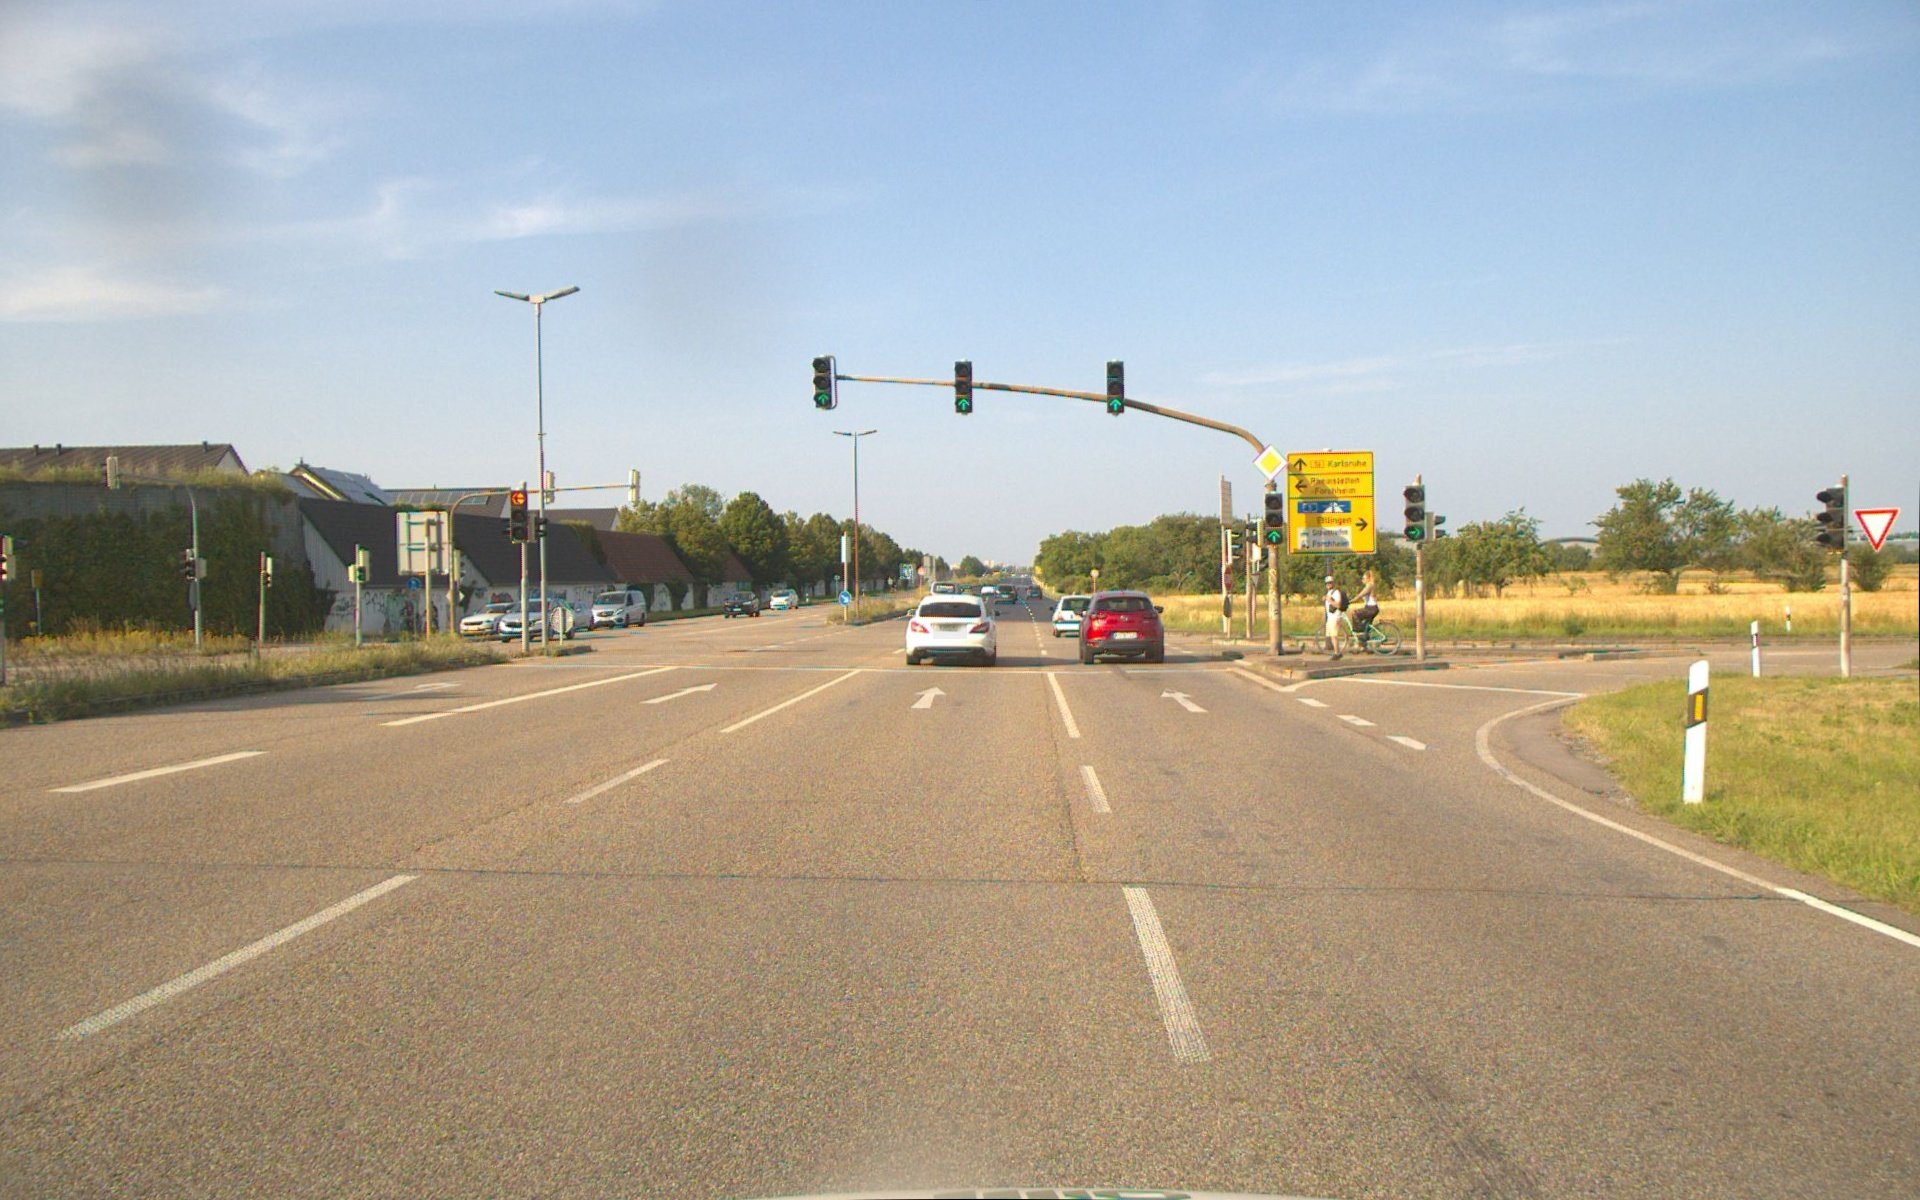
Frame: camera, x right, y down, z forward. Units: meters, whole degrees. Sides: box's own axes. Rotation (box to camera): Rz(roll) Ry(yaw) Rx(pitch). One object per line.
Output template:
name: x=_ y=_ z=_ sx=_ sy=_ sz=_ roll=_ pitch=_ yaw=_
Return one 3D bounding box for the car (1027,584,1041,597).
car: x=7.684 y=-0.965 z=171.036 sx=1.409 sy=1.306 sz=2.915 roll=1 pitch=1 yaw=3

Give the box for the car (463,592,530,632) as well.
car: x=-20.166 y=0.507 z=72.112 sx=1.851 sy=1.646 sz=3.856 roll=1 pitch=1 yaw=-1

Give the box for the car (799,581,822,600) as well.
car: x=-14.887 y=-0.994 z=164.704 sx=1.953 sy=1.825 sz=4.000 roll=1 pitch=1 yaw=-1

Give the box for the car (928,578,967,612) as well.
car: x=-0.735 y=-0.323 z=100.820 sx=1.983 sy=1.924 sz=4.961 roll=1 pitch=1 yaw=3

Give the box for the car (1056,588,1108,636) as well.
car: x=4.189 y=0.380 z=57.047 sx=1.693 sy=1.556 sz=3.475 roll=1 pitch=1 yaw=3

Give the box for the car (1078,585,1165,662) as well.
car: x=3.488 y=0.471 z=36.212 sx=1.717 sy=1.543 sz=4.002 roll=-1 pitch=1 yaw=3

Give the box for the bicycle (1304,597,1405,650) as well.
bicycle: x=8.682 y=0.513 z=36.474 sx=2.051 sy=1.108 sz=0.808 roll=1 pitch=0 yaw=6

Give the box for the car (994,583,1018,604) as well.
car: x=3.906 y=-0.531 z=140.229 sx=1.800 sy=1.713 sz=4.003 roll=1 pitch=1 yaw=5

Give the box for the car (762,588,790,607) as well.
car: x=-15.495 y=-0.185 z=139.212 sx=1.953 sy=1.523 sz=4.000 roll=1 pitch=1 yaw=-1

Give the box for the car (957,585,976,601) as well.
car: x=0.652 y=-0.725 z=165.136 sx=1.681 sy=1.518 sz=3.586 roll=1 pitch=1 yaw=3

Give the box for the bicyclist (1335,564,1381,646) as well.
bicyclist: x=8.772 y=0.100 z=36.448 sx=0.830 sy=1.786 sz=0.799 roll=1 pitch=0 yaw=4

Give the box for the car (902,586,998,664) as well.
car: x=-0.160 y=0.487 z=35.087 sx=1.855 sy=1.535 sz=4.001 roll=0 pitch=1 yaw=2

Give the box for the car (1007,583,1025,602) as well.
car: x=5.514 y=-0.748 z=162.192 sx=1.675 sy=1.766 sz=3.869 roll=1 pitch=1 yaw=2

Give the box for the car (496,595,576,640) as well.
car: x=-15.040 y=0.588 z=58.853 sx=1.747 sy=1.462 sz=4.356 roll=1 pitch=1 yaw=-1

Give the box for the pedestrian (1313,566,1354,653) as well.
pedestrian: x=7.766 y=0.196 z=34.436 sx=0.695 sy=1.782 sz=0.863 roll=1 pitch=0 yaw=5

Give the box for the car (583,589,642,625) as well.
car: x=-17.893 y=0.344 z=85.431 sx=1.956 sy=1.716 sz=4.576 roll=1 pitch=1 yaw=1

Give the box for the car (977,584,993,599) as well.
car: x=2.976 y=-1.019 z=196.122 sx=1.740 sy=1.694 sz=3.663 roll=1 pitch=1 yaw=-1

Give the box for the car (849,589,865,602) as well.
car: x=-13.204 y=-0.592 z=211.700 sx=1.718 sy=1.556 sz=4.001 roll=1 pitch=1 yaw=1

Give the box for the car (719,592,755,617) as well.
car: x=-13.991 y=0.266 z=104.029 sx=1.786 sy=1.534 sz=3.797 roll=1 pitch=1 yaw=-1
